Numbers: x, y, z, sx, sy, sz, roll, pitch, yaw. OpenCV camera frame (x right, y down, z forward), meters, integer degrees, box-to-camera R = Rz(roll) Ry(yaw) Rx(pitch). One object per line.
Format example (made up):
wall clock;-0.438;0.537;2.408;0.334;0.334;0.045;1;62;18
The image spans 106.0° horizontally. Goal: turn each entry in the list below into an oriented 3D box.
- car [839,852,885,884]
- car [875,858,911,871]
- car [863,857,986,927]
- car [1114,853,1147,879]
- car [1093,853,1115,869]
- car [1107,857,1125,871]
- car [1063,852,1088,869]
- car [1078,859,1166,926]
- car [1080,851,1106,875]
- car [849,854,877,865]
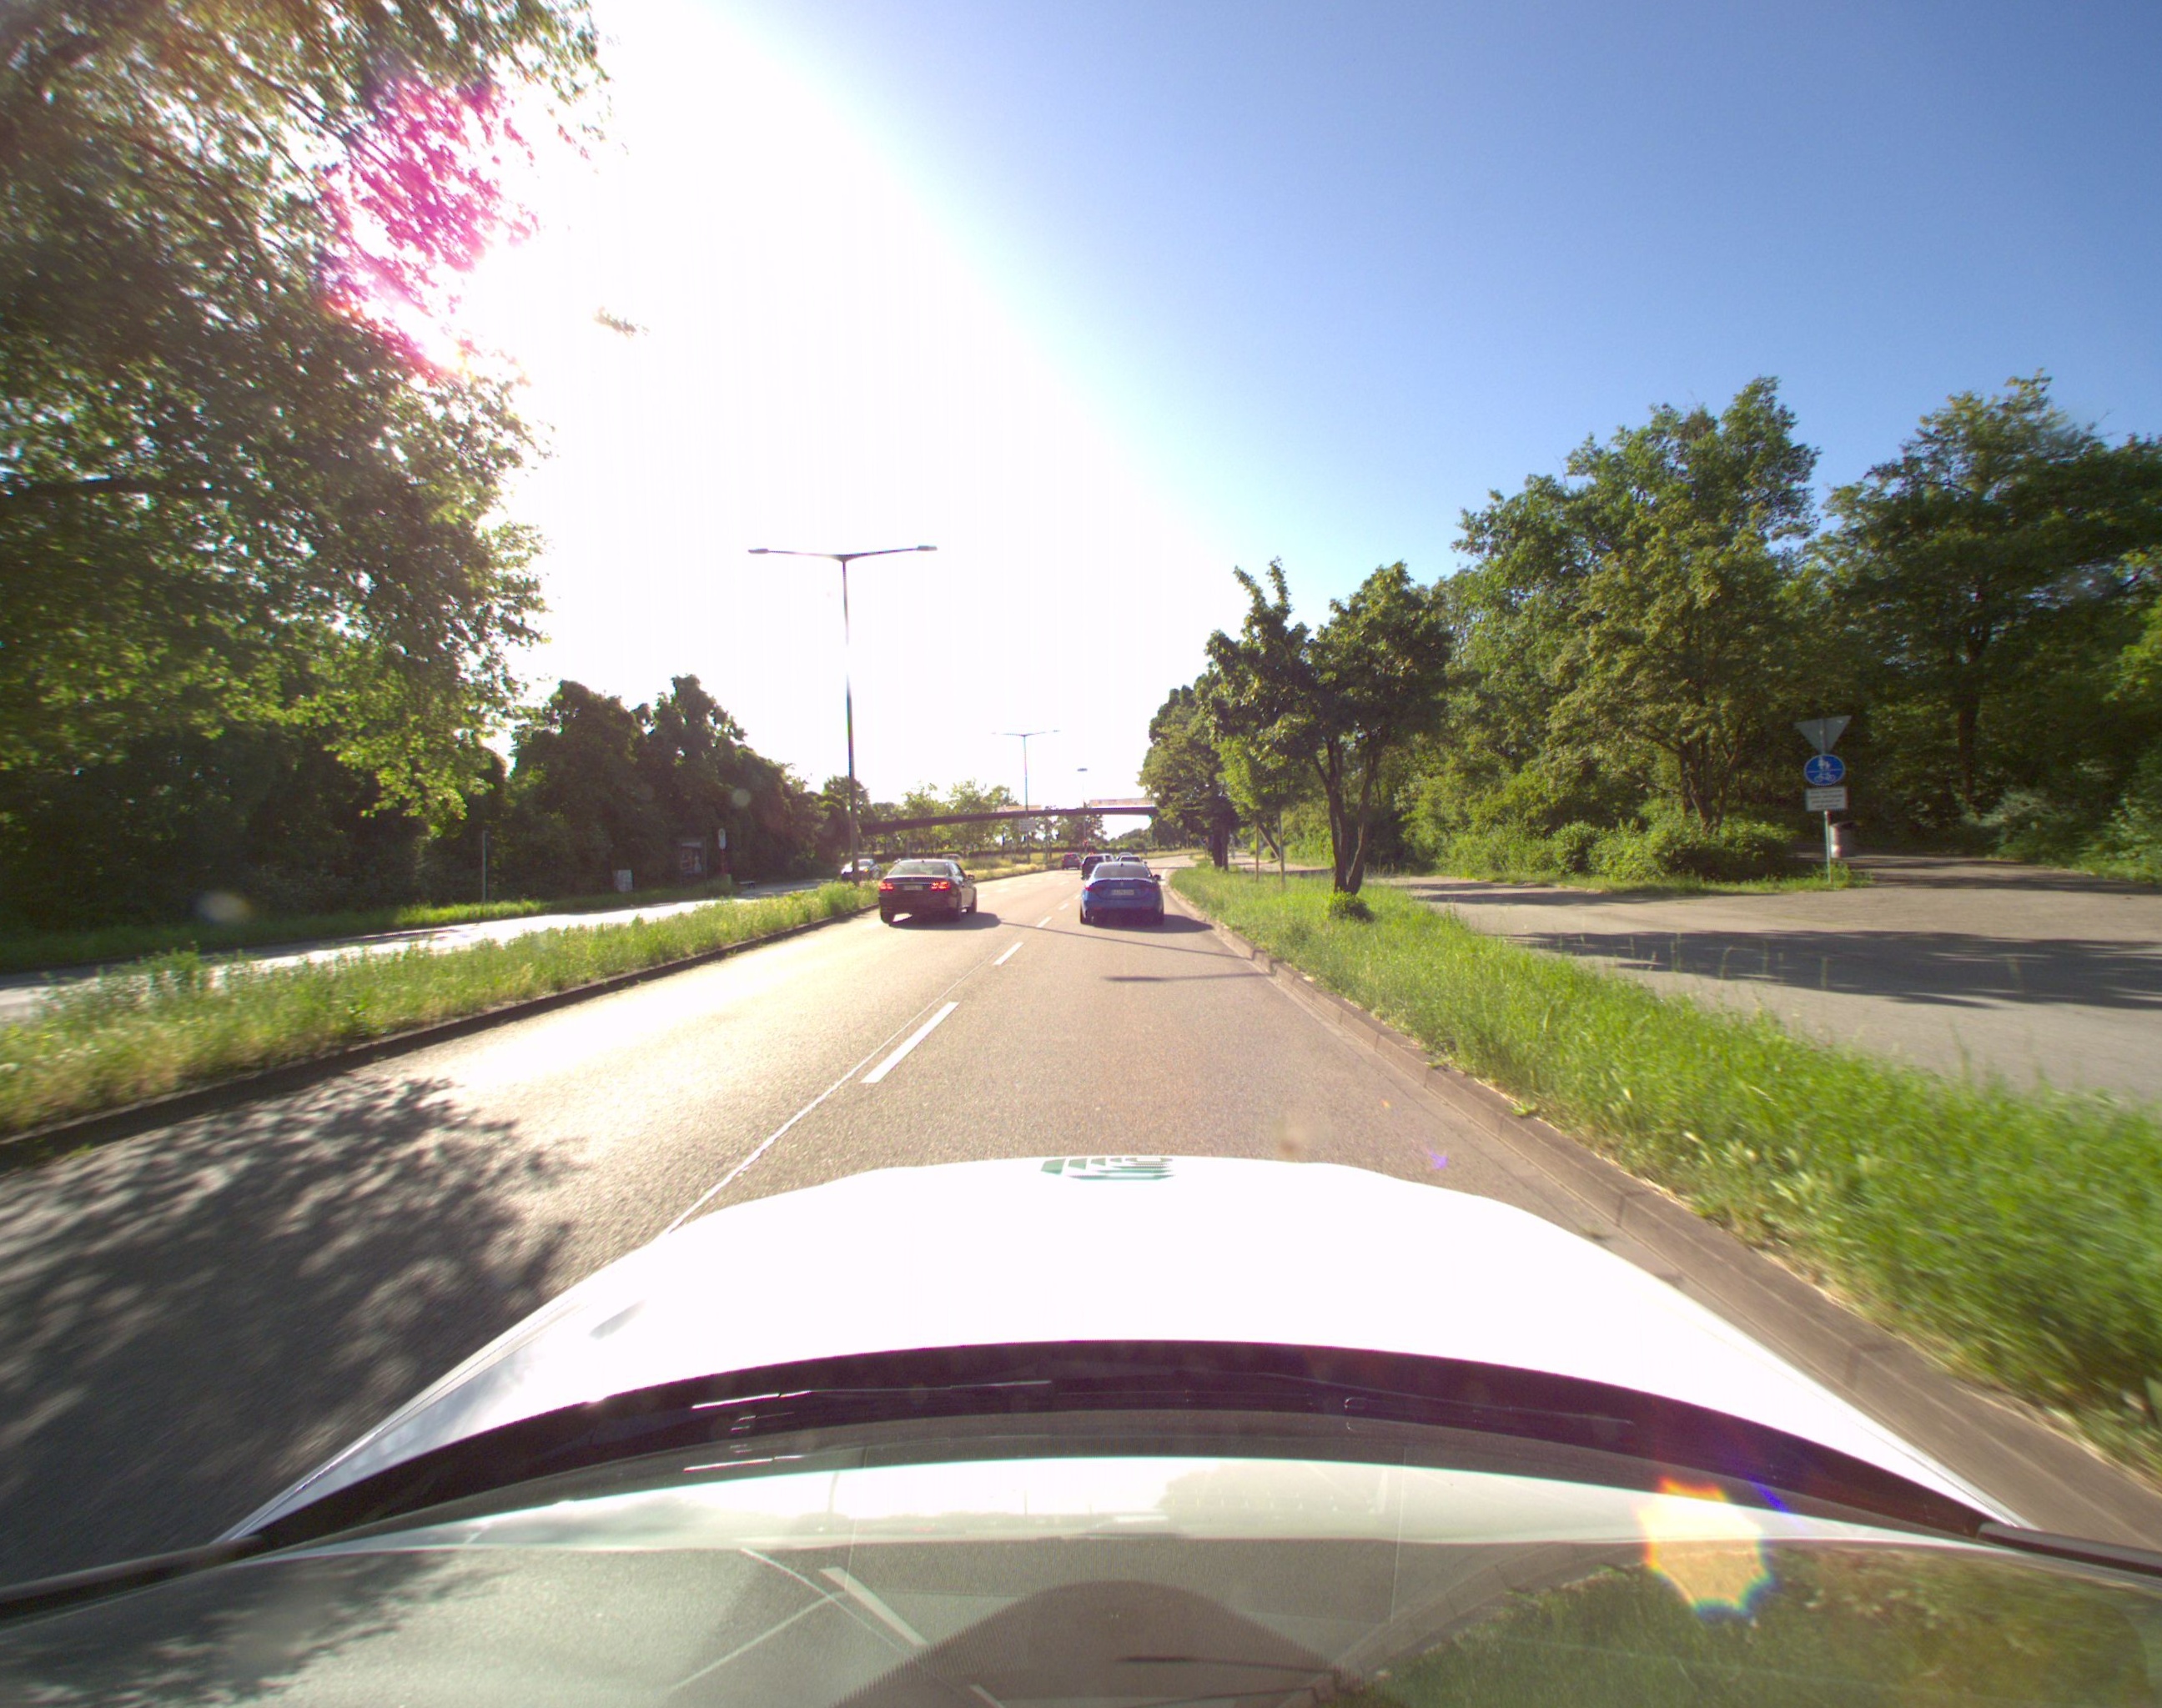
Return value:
car;-14.749;0.936;55.049;1.988;2.014;4.578;-1;0;-2
car;-25.270;1.390;109.239;4.270;1.650;2.010;-1;-1;21
car;-3.760;0.848;20.551;1.951;1.483;4.920;-2;0;2
car;3.008;0.724;50.394;1.876;1.454;4.527;-1;0;1
car;2.115;0.630;75.158;1.876;1.454;4.527;-1;0;1
car;3.970;1.125;93.044;1.876;1.454;4.527;-1;0;1
car;-0.512;0.601;79.373;1.786;1.555;3.740;-1;0;10
car;0.938;0.847;19.658;1.876;1.406;4.225;-1;0;1
car;0.846;0.653;58.323;1.703;1.598;4.221;-1;0;-1
car;-41.594;1.023;155.298;4.764;2.014;2.002;-1;-1;4
